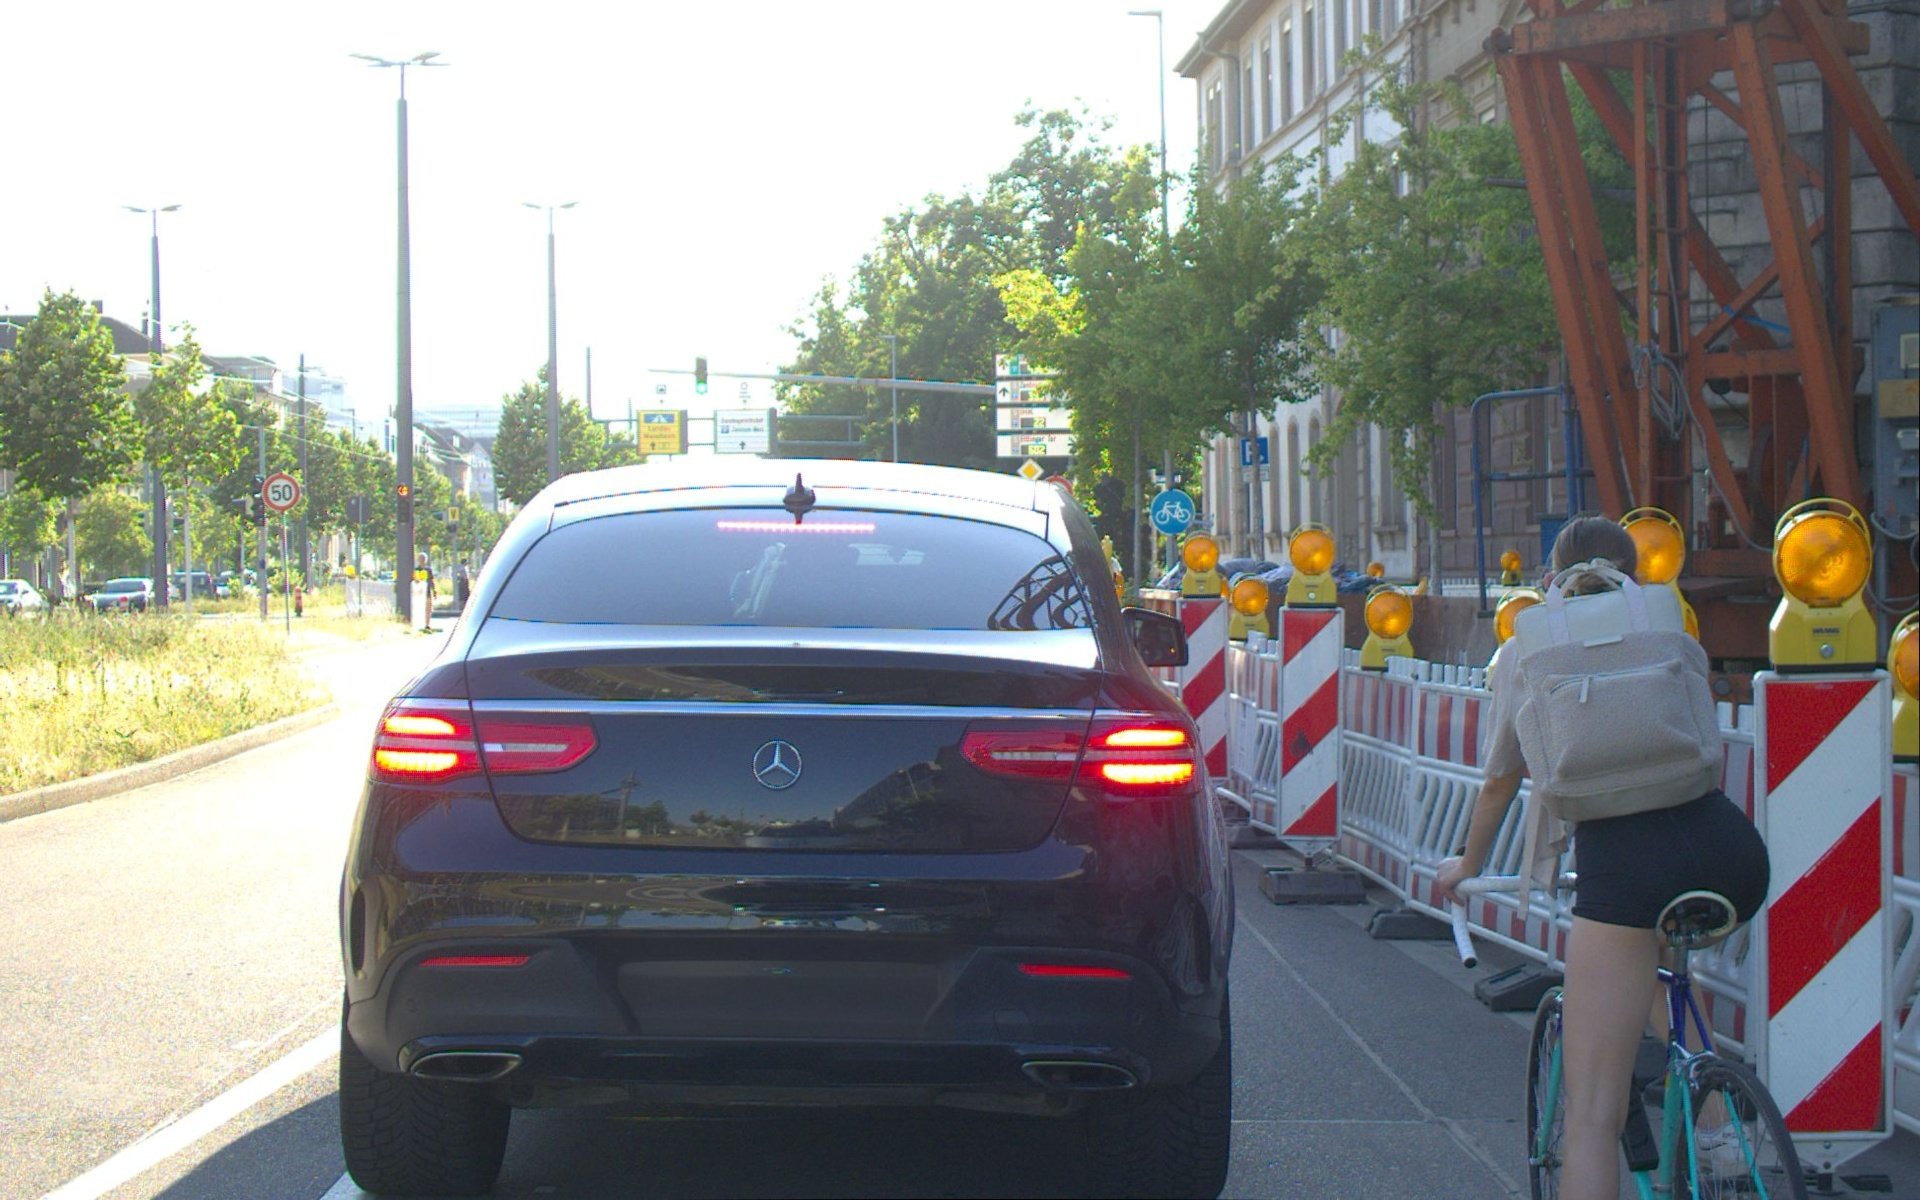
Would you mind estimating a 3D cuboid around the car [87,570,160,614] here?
[{"bbox_3d":[-27.943,-0.276,114.889,1.708,1.437,3.583,1,1,-3],"label":"car"}]

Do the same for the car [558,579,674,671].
[{"bbox_3d":[-5.674,0.397,56.994,1.708,1.437,3.583,1,1,-3],"label":"car"}]

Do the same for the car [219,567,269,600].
[{"bbox_3d":[-32.716,-0.765,157.159,1.708,1.437,3.583,1,1,-3],"label":"car"}]

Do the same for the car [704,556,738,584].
[{"bbox_3d":[-12.759,-1.589,183.410,1.708,1.437,3.583,1,1,-3],"label":"car"}]

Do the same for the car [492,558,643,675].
[{"bbox_3d":[-5.081,0.190,44.861,1.708,1.437,3.583,1,1,-3],"label":"car"}]

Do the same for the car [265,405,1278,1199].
[{"bbox_3d":[-0.398,0.489,8.842,1.993,1.766,4.000,1,1,-1],"label":"car"}]

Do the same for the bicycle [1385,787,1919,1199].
[{"bbox_3d":[1.173,0.918,6.140,0.512,1.048,1.725,1,1,-3],"label":"bicycle"}]

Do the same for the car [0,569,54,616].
[{"bbox_3d":[-29.850,-0.238,108.435,1.708,1.437,3.583,1,1,-3],"label":"car"}]

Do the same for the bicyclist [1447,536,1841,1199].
[{"bbox_3d":[1.186,0.589,6.056,0.522,1.391,0.615,1,0,-3],"label":"bicyclist"}]
